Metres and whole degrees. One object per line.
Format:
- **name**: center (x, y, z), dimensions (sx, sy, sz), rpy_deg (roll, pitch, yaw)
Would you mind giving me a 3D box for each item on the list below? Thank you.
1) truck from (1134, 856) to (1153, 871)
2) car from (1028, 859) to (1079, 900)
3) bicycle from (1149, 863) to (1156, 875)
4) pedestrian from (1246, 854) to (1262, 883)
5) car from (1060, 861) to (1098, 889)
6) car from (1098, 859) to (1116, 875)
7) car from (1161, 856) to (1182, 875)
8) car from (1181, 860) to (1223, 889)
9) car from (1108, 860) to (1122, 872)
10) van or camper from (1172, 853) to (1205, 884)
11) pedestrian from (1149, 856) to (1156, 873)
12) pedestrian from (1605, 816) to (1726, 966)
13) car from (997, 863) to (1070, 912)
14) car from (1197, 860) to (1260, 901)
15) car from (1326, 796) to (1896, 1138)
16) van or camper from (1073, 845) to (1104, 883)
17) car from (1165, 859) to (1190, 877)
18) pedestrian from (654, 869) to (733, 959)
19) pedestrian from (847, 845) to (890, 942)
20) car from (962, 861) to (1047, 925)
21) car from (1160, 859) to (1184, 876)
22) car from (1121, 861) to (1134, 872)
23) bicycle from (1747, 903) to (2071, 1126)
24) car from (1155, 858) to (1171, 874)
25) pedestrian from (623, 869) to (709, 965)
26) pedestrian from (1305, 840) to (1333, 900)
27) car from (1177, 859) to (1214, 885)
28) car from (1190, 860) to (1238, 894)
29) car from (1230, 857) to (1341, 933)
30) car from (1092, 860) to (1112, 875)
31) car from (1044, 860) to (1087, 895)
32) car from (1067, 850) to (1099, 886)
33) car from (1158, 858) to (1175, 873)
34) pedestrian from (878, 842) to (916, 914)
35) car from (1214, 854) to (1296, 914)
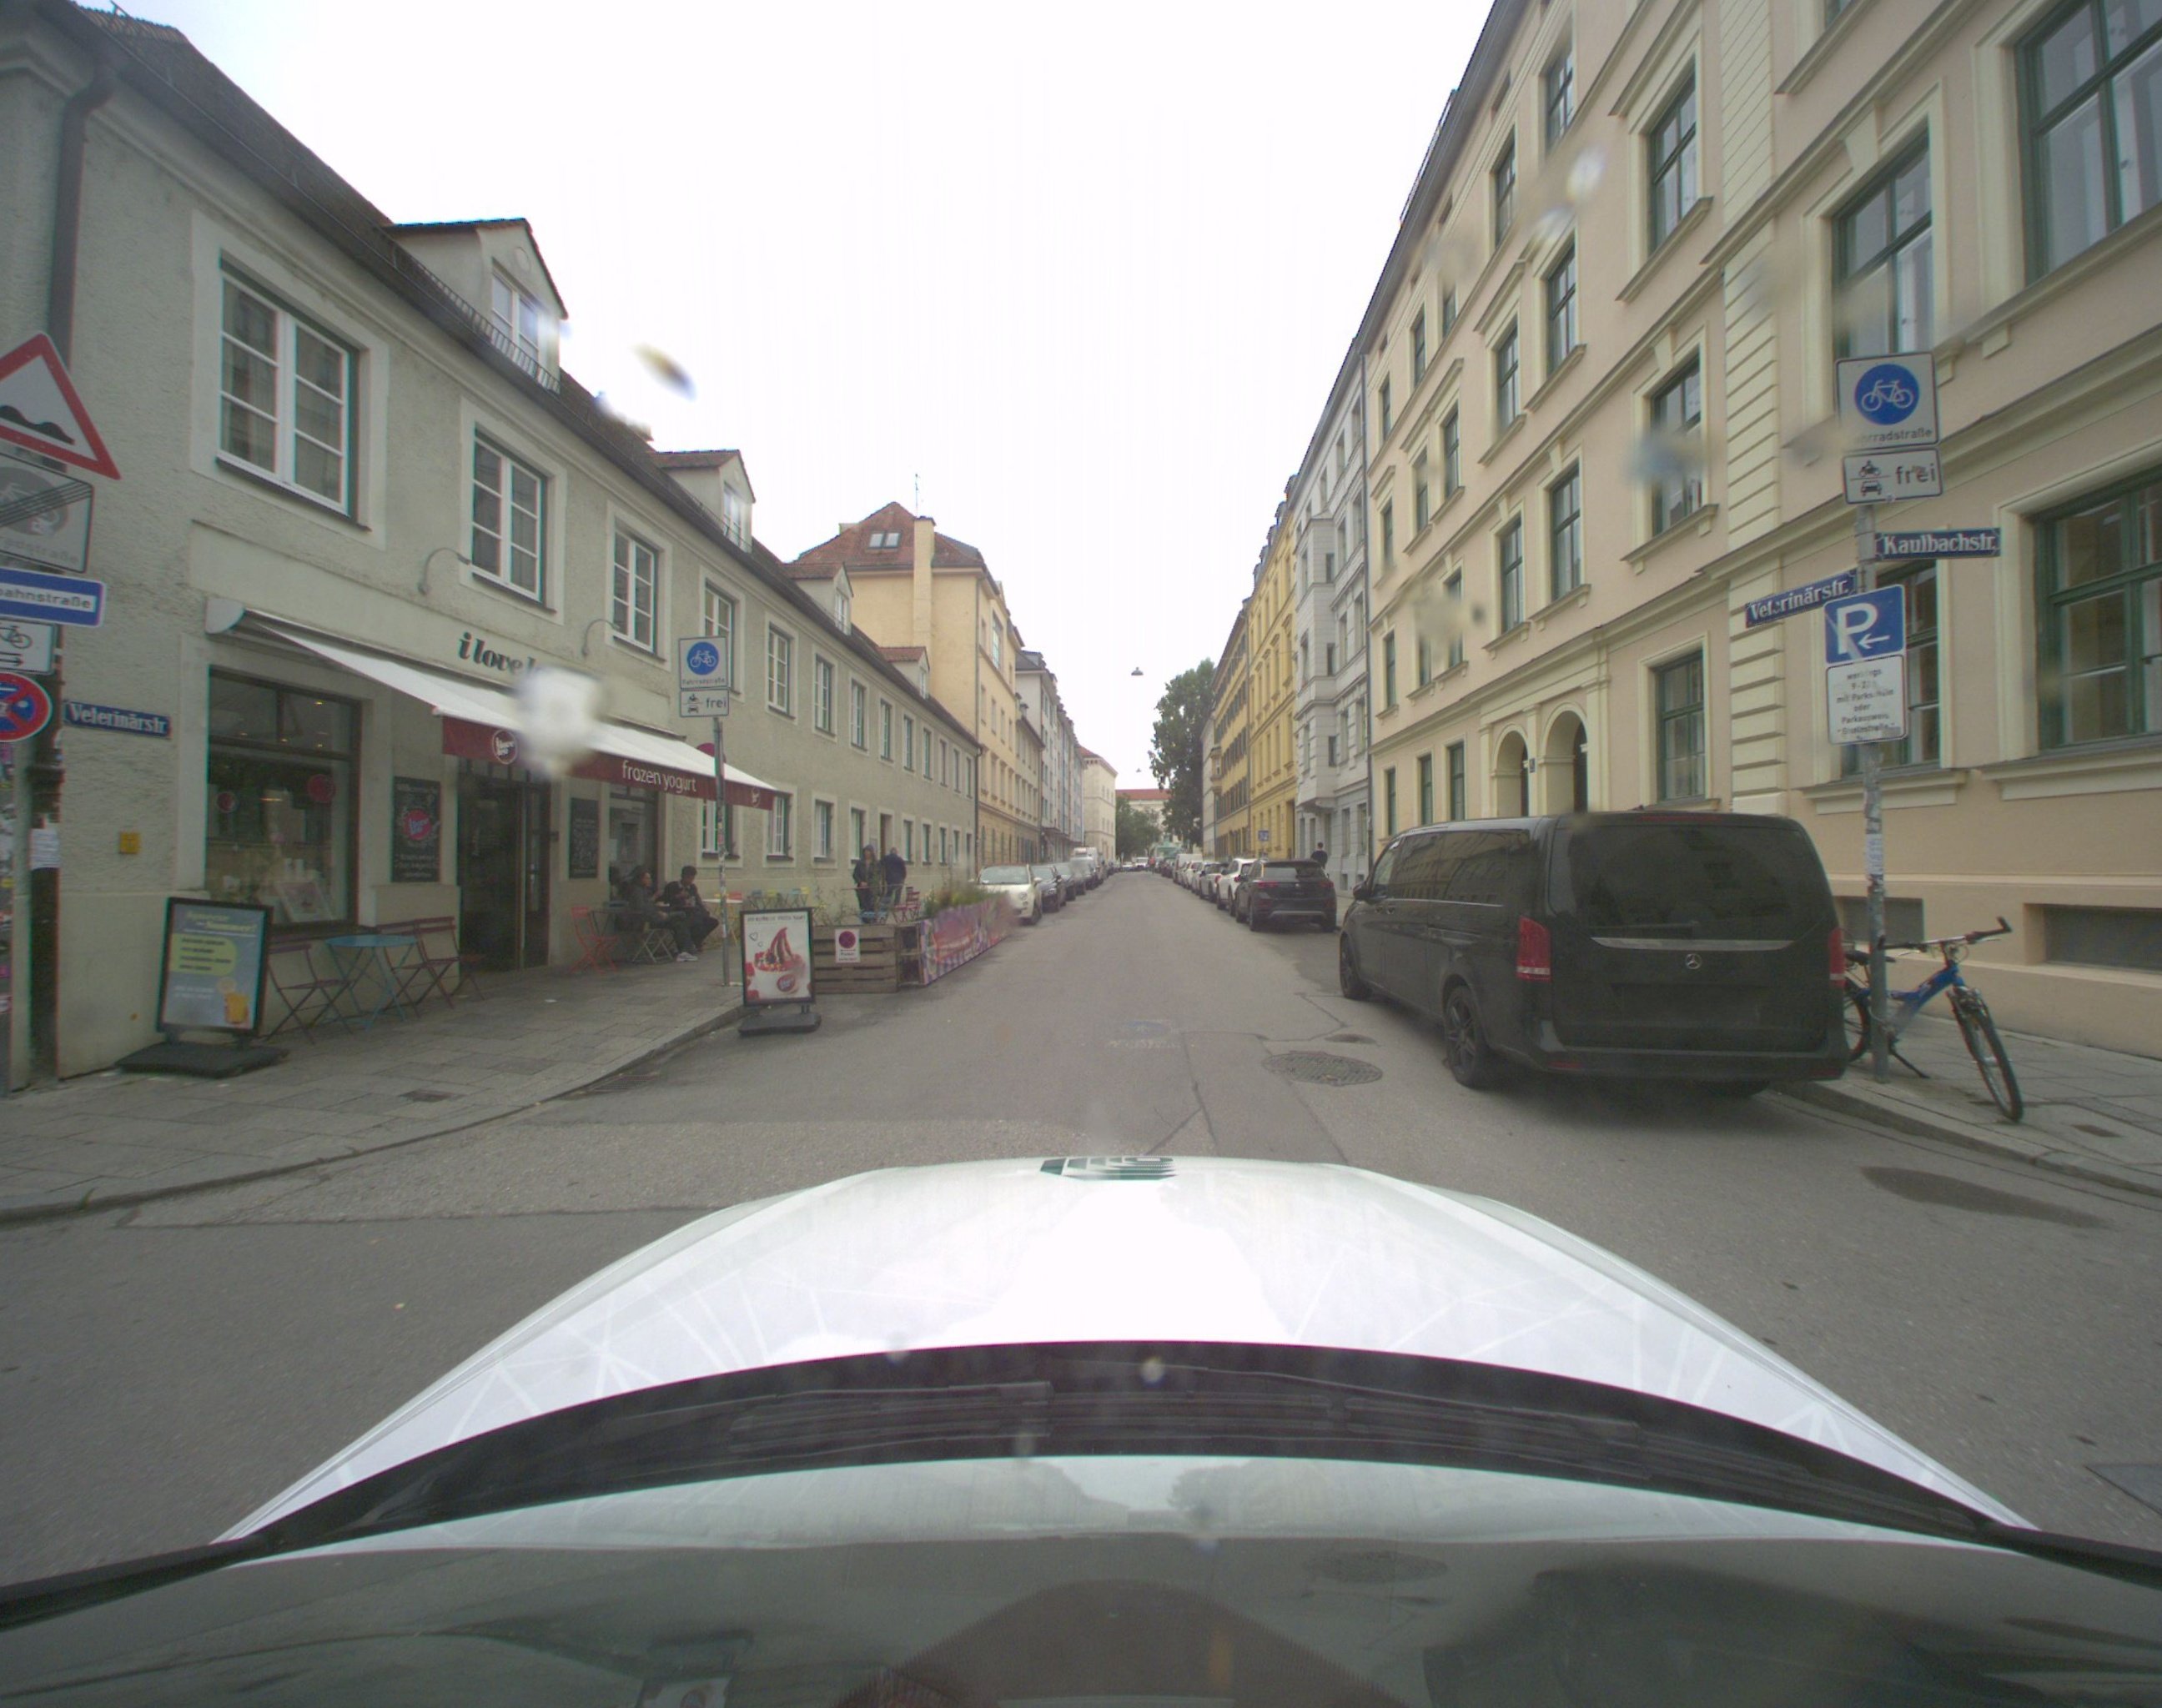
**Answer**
- **truck**: center (9.827, 1.488, 127.098), dimensions (2.107, 2.247, 6.204), rpy_deg (-1, -2, 11)
- **car**: center (-1.020, 0.939, 31.764), dimensions (1.748, 1.496, 4.201), rpy_deg (0, -1, 1)
- **bicycle**: center (7.002, 1.481, 80.131), dimensions (0.672, 1.095, 1.762), rpy_deg (-1, -2, 5)
- **pedestrian**: center (9.389, 0.790, 44.125), dimensions (0.658, 1.571, 0.643), rpy_deg (-3, -2, 3)
- **car**: center (-0.072, 1.051, 41.992), dimensions (1.747, 1.409, 4.105), rpy_deg (0, -1, 2)
- **car**: center (2.758, 1.343, 86.005), dimensions (1.699, 1.609, 3.866), rpy_deg (-2, -1, 3)
- **car**: center (8.761, 1.089, 78.990), dimensions (1.803, 1.797, 4.251), rpy_deg (1, -1, 4)
- **car**: center (6.228, 1.035, 42.386), dimensions (1.701, 1.454, 4.098), rpy_deg (0, -1, 2)
- **car**: center (4.751, 1.709, 113.834), dimensions (1.698, 1.609, 3.869), rpy_deg (-2, -1, 6)
- **van or camper**: center (6.844, 0.904, 52.216), dimensions (1.825, 1.872, 5.084), rpy_deg (0, -1, 4)
- **pedestrian**: center (6.997, 1.037, 80.152), dimensions (0.639, 1.714, 0.843), rpy_deg (-1, -2, 4)
- **pedestrian**: center (7.026, 0.438, 9.842), dimensions (0.716, 1.717, 1.004), rpy_deg (-1, -2, 3)
- **car**: center (-1.413, 1.000, 25.972), dimensions (1.791, 1.339, 4.689), rpy_deg (0, 0, 3)
- **car**: center (5.358, 0.941, 30.058), dimensions (1.702, 1.404, 4.209), rpy_deg (0, -1, 2)
- **car**: center (3.705, 0.627, 7.147), dimensions (1.988, 1.864, 5.260), rpy_deg (0, 0, 5)
- **van or camper**: center (0.532, 0.647, 52.234), dimensions (1.747, 2.281, 5.277), rpy_deg (0, -1, 3)
- **car**: center (7.939, 1.147, 66.954), dimensions (1.804, 1.465, 4.250), rpy_deg (1, -1, 4)
- **pedestrian**: center (-5.728, 0.874, 12.081), dimensions (0.799, 1.290, 0.694), rpy_deg (-1, -2, 4)
- **pedestrian**: center (-4.030, 0.744, 15.461), dimensions (0.526, 1.782, 0.878), rpy_deg (-1, -2, 4)
- **car**: center (-1.845, 0.923, 20.735), dimensions (1.748, 1.475, 3.714), rpy_deg (0, 0, 1)
- **car**: center (8.053, 1.222, 71.986), dimensions (1.804, 1.425, 4.249), rpy_deg (1, -1, 2)
- **car**: center (7.376, 1.934, 128.357), dimensions (1.698, 1.581, 3.870), rpy_deg (-2, -1, 6)
- **bicycle**: center (5.271, 0.941, 5.351), dimensions (0.463, 1.052, 1.732), rpy_deg (-3, 2, 5)
- **car**: center (9.896, 1.420, 98.740), dimensions (1.843, 1.920, 4.775), rpy_deg (-1, -1, 4)
- **pedestrian**: center (-5.769, 0.863, 11.357), dimensions (0.799, 1.290, 0.694), rpy_deg (-1, -2, 4)
- **pedestrian**: center (8.194, 0.555, 28.018), dimensions (0.666, 1.980, 0.709), rpy_deg (-4, -2, 4)
- **car**: center (6.534, 1.020, 46.910), dimensions (1.701, 1.392, 4.208), rpy_deg (0, -1, 2)
- **car**: center (5.788, 0.971, 35.887), dimensions (1.700, 1.408, 4.820), rpy_deg (0, -1, 4)
- **car**: center (4.521, 0.850, 18.586), dimensions (1.747, 1.521, 4.279), rpy_deg (0, -1, 4)
- **car**: center (2.110, 1.346, 80.745), dimensions (1.810, 1.444, 3.821), rpy_deg (-2, -1, 3)
- **car**: center (-0.648, 1.034, 36.950), dimensions (1.810, 1.441, 4.131), rpy_deg (-1, 0, 0)
- **car**: center (0.115, 0.805, 47.013), dimensions (1.749, 1.995, 4.624), rpy_deg (0, -1, 0)
- **car**: center (9.690, 1.340, 92.861), dimensions (1.803, 1.614, 4.160), rpy_deg (-1, -1, 4)
- **pedestrian**: center (-4.981, 0.654, 22.076), dimensions (0.819, 1.898, 0.828), rpy_deg (-1, -2, 3)
- **car**: center (4.945, 0.823, 23.729), dimensions (1.735, 1.583, 4.471), rpy_deg (0, -1, 4)
